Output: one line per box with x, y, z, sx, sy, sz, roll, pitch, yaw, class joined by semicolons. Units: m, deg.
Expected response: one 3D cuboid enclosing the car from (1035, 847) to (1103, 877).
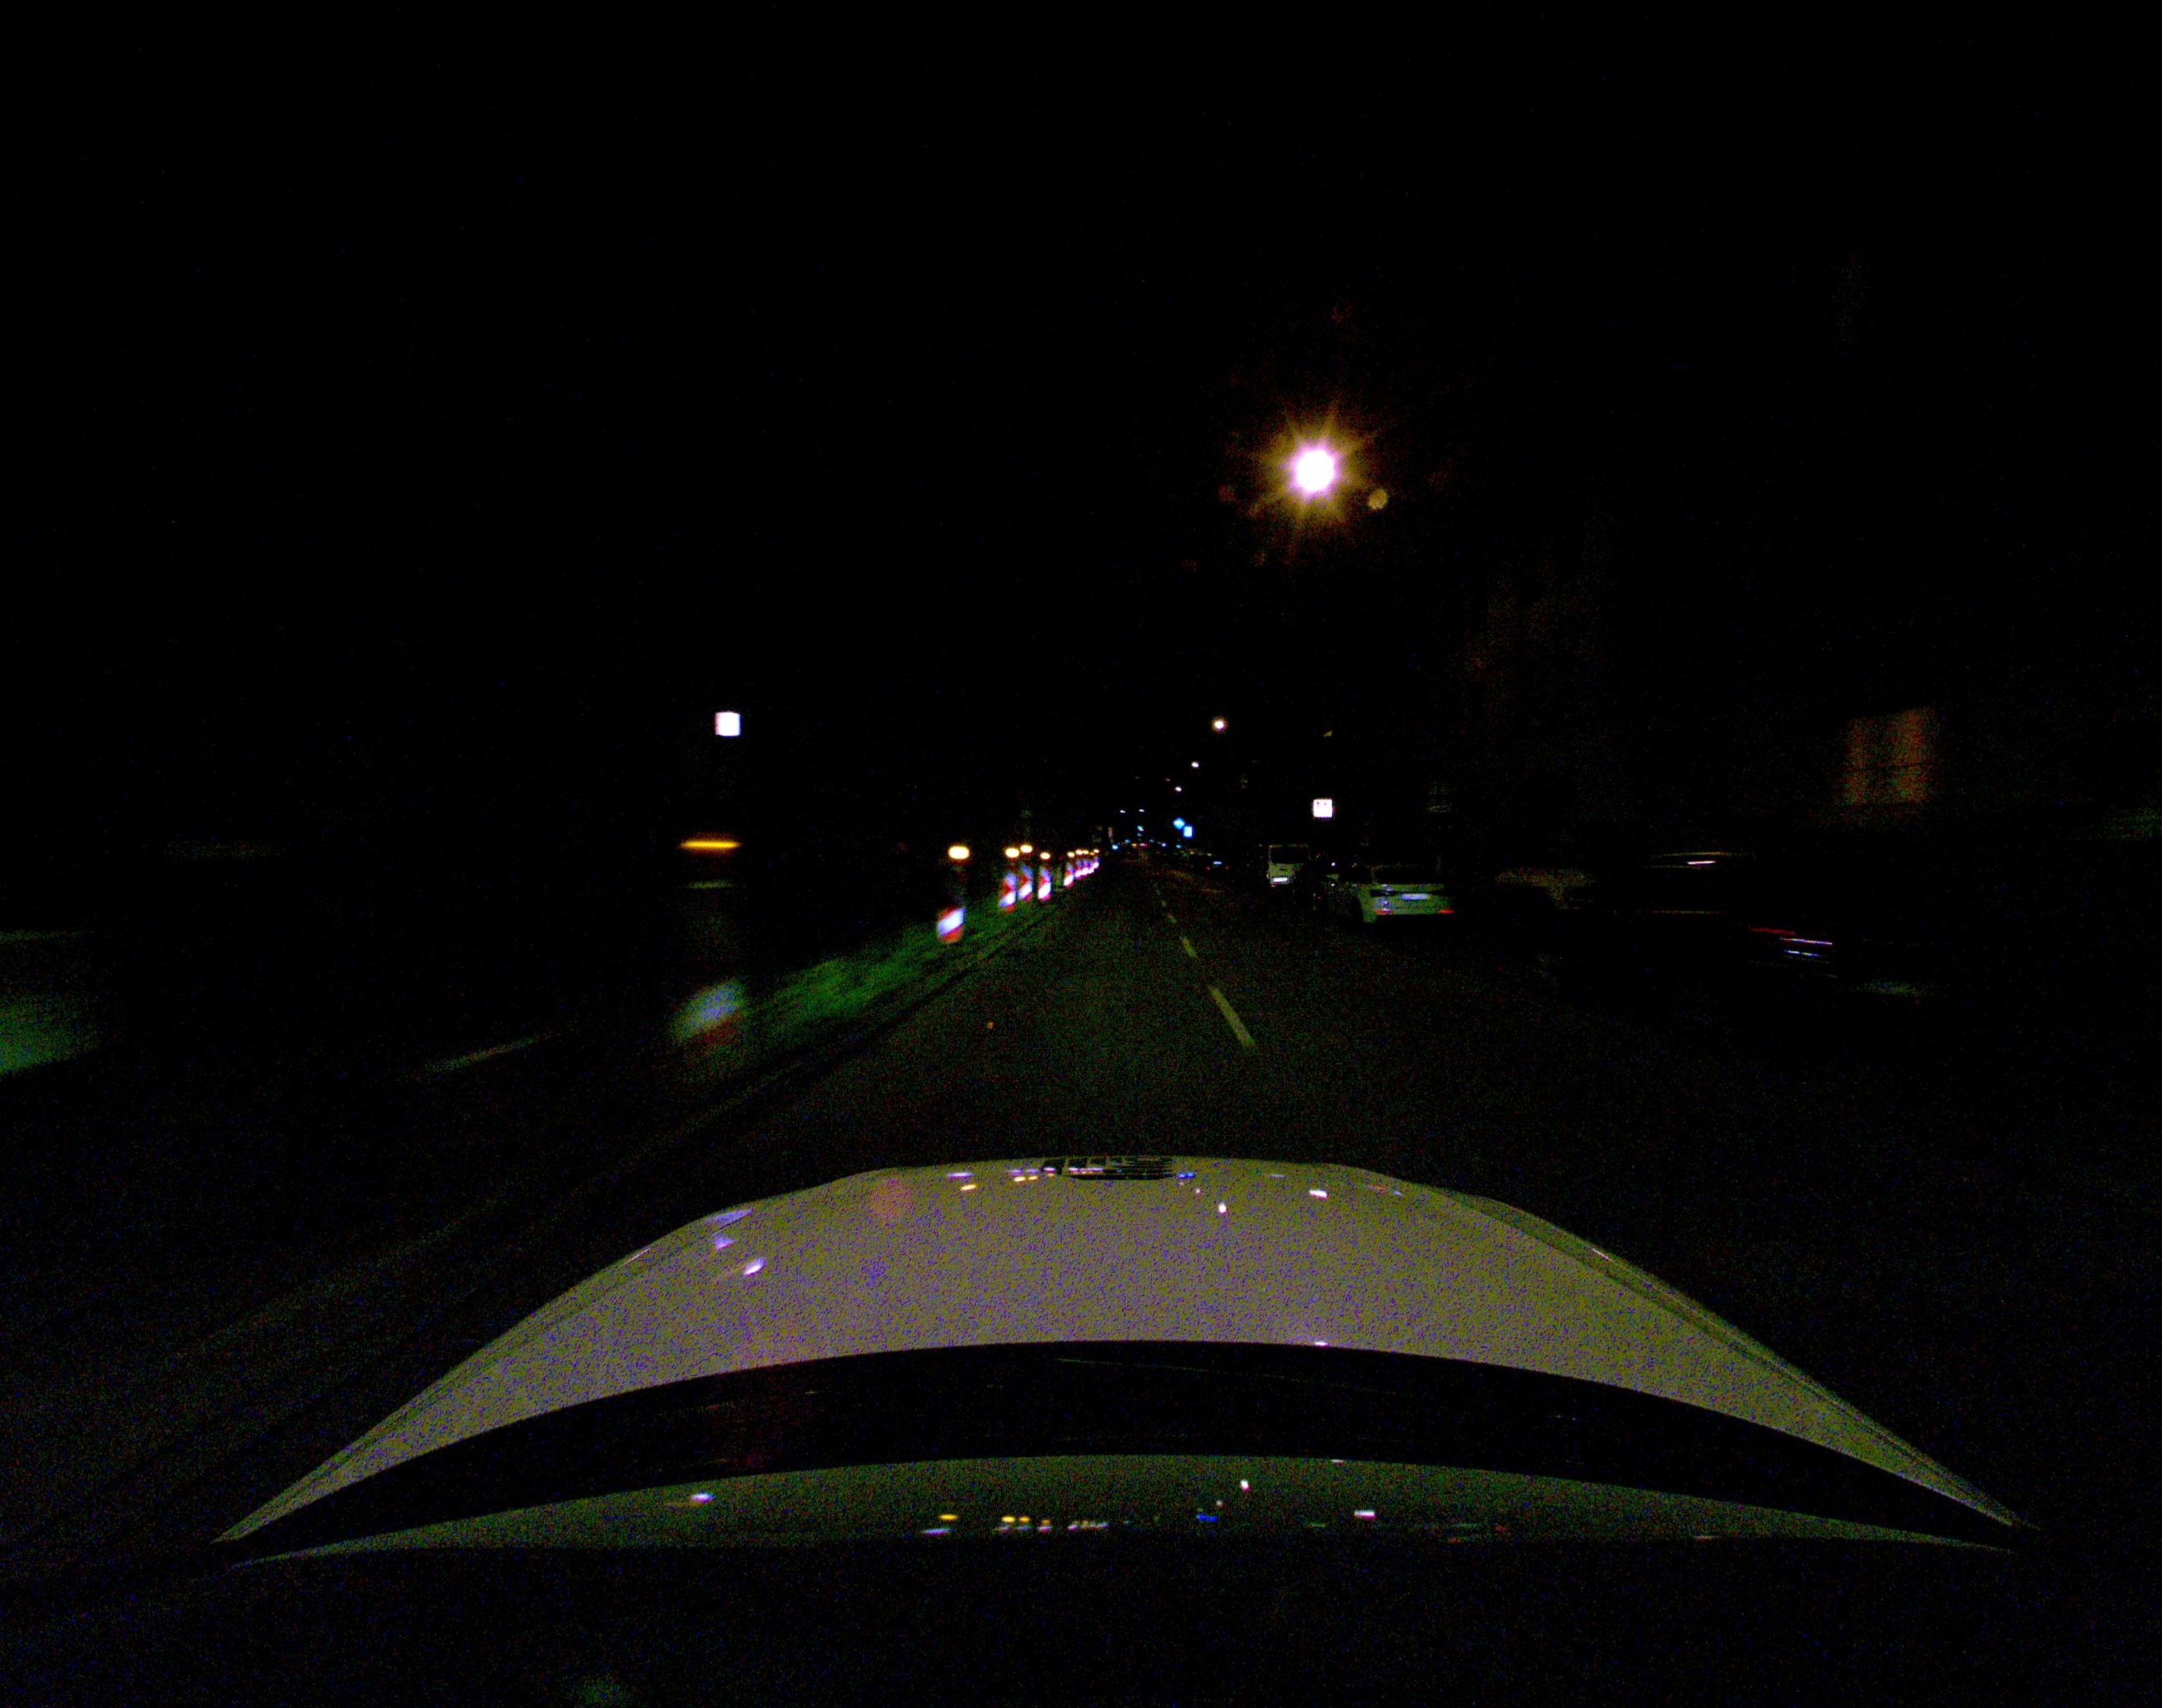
-0.773;0.518;52.971;3.956;1.889;1.917;0;0;16;car

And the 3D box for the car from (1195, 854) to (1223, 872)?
10.009;0.692;64.022;1.771;1.426;3.895;1;0;3;car

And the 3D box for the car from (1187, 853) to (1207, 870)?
10.474;0.646;73.676;1.587;1.467;3.896;1;0;4;car

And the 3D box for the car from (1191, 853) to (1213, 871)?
10.209;0.675;68.985;1.588;1.467;3.723;1;0;4;car

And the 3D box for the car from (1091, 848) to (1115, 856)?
4.126;-0.292;150.481;4.420;1.449;2.002;1;0;3;car

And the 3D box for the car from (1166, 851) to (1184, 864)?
11.593;0.441;100.242;1.768;1.544;4.548;1;0;1;car

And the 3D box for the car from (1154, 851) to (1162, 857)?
19.480;0.099;205.197;1.984;1.520;4.006;1;0;5;car

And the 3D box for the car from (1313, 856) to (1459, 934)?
6.751;0.832;18.623;1.736;1.508;4.837;-1;0;3;car

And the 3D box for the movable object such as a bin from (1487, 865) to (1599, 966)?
6.994;0.894;12.406;0.934;1.432;1.339;-1;0;0;movable object such as a bin

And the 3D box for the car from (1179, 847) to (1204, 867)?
10.725;0.261;79.383;1.794;1.875;4.775;-2;0;1;car

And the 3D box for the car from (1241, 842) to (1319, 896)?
7.802;0.561;32.464;2.063;1.928;5.375;-1;0;3;car

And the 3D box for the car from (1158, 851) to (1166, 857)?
19.649;-0.003;197.874;1.984;1.520;4.006;1;0;5;car

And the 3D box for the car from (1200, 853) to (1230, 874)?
9.379;0.646;57.218;1.770;1.426;4.486;1;0;5;car

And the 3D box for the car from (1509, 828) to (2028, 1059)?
6.200;0.675;8.162;1.736;1.683;4.261;-1;0;3;car

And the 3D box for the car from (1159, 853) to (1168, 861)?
17.605;0.612;174.297;1.984;1.516;4.006;1;1;5;car

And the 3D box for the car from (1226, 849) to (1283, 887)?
8.145;0.639;38.576;1.812;1.599;4.222;-2;0;2;car

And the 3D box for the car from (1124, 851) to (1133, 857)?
11.319;0.059;192.923;1.985;1.502;4.004;1;0;4;car

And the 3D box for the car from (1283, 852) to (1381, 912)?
7.221;0.767;23.803;1.736;1.565;4.214;-1;0;3;car

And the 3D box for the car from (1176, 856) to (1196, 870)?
10.852;0.916;84.471;1.809;1.427;4.192;-1;0;3;car
